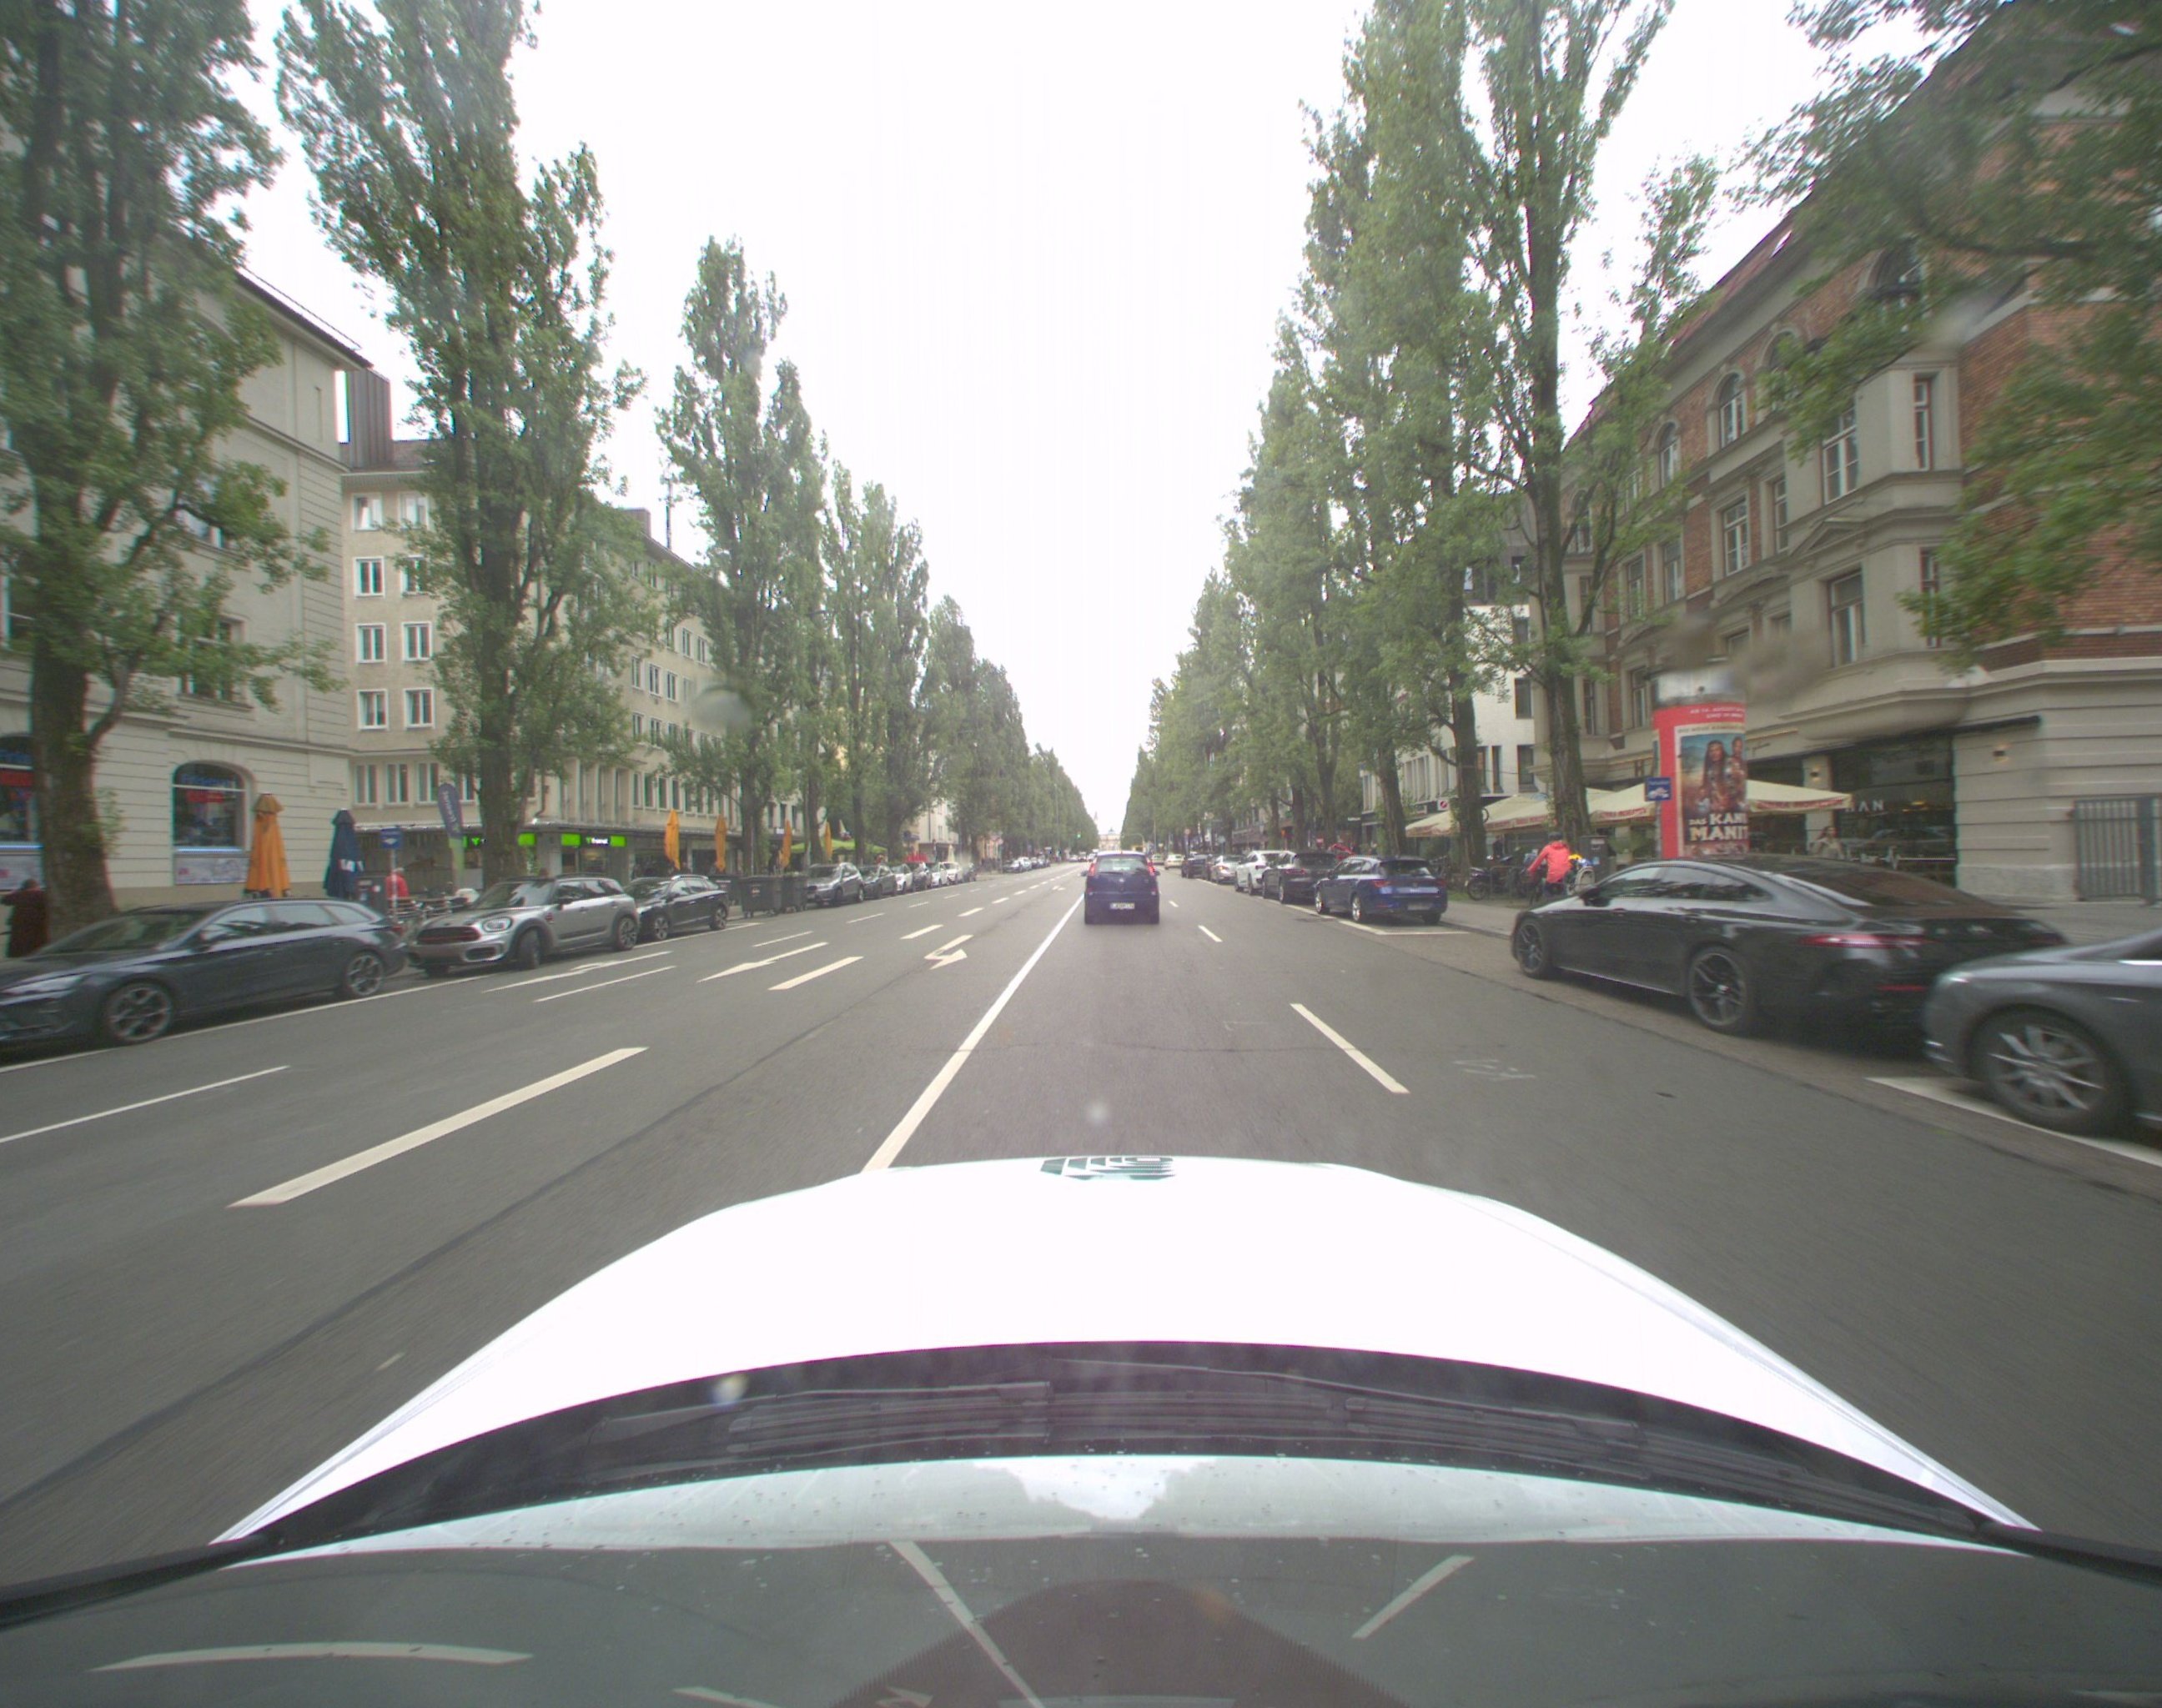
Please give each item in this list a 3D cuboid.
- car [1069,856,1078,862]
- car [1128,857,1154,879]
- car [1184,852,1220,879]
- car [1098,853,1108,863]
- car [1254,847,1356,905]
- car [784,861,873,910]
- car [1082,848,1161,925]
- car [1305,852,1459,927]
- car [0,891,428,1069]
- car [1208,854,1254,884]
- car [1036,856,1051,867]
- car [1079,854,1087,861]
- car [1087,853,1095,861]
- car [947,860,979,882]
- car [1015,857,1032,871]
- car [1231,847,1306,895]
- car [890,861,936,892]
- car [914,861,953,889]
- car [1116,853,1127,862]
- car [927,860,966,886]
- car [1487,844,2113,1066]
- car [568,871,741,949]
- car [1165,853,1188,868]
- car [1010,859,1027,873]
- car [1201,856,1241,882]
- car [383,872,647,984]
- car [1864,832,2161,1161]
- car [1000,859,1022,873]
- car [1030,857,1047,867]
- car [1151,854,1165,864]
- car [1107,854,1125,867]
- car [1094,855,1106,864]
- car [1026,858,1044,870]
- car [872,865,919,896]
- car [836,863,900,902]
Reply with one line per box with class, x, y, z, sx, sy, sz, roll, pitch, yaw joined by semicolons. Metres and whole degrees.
car;-1.853;1.266;206.159;1.954;1.549;3.780;-2;0;1
car;4.421;1.007;60.568;1.700;1.574;4.001;0;0;2
car;7.500;0.698;50.738;1.790;1.594;4.107;0;0;2
car;4.197;0.745;154.763;1.828;1.761;3.780;-2;0;1
car;6.795;0.611;25.199;1.986;1.565;4.485;-2;0;1
car;-9.790;1.172;32.012;1.858;1.654;4.616;-4;0;1
car;0.921;0.694;19.472;1.675;1.641;4.001;-1;0;1
car;6.544;0.708;18.288;1.744;1.405;4.463;-2;0;-1
car;-10.561;1.303;9.758;1.680;1.424;4.685;-4;0;-1
car;7.438;0.697;40.727;1.664;1.406;4.128;0;0;1
car;-5.800;1.173;126.029;1.986;1.662;4.001;-2;0;1
car;0.454;0.813;199.469;1.828;1.739;3.780;-2;0;1
car;2.284;0.739;191.861;1.828;1.677;3.780;-2;0;1
car;-8.534;1.213;59.083;1.579;1.447;3.395;-2;0;4
car;-6.877;1.214;97.337;1.648;1.562;3.459;-2;0;2
car;6.877;0.577;30.360;1.820;1.621;4.749;-1;0;1
car;-9.311;1.210;45.383;1.836;1.565;4.174;-2;0;-3
car;-9.005;1.263;49.854;1.566;1.534;2.926;-2;0;4
car;7.377;0.637;148.299;1.954;1.677;3.780;-2;0;1
car;-8.804;1.230;53.765;1.829;1.546;4.086;-2;0;0
car;6.055;0.686;7.907;1.872;1.432;4.805;-2;0;1
car;-10.171;1.267;19.843;1.656;1.504;4.316;-4;0;3
car;9.100;0.593;77.640;1.889;1.362;3.902;-2;0;2
car;-7.077;1.330;92.476;1.541;1.453;3.459;-2;0;2
car;7.731;0.808;45.127;1.675;1.415;3.584;0;0;1
car;-10.084;1.215;14.979;1.775;1.575;4.134;-4;0;2
car;5.934;0.644;3.074;1.811;1.506;4.230;-2;0;-1
car;-7.432;1.230;86.340;1.823;1.420;3.813;-2;0;2
car;-5.992;1.125;115.460;1.954;1.399;3.780;-2;0;1
car;10.529;0.659;112.123;1.663;1.352;4.107;-2;0;2
car;4.062;0.760;95.876;1.986;1.497;4.001;-2;0;1
car;3.430;0.944;145.580;1.954;1.399;3.780;-2;0;1
car;-6.151;1.296;109.256;1.955;1.530;4.000;-2;0;1
car;-9.424;1.309;41.500;1.625;1.428;2.984;-2;0;1
car;-9.498;1.235;36.686;1.691;1.550;4.083;-2;0;1
